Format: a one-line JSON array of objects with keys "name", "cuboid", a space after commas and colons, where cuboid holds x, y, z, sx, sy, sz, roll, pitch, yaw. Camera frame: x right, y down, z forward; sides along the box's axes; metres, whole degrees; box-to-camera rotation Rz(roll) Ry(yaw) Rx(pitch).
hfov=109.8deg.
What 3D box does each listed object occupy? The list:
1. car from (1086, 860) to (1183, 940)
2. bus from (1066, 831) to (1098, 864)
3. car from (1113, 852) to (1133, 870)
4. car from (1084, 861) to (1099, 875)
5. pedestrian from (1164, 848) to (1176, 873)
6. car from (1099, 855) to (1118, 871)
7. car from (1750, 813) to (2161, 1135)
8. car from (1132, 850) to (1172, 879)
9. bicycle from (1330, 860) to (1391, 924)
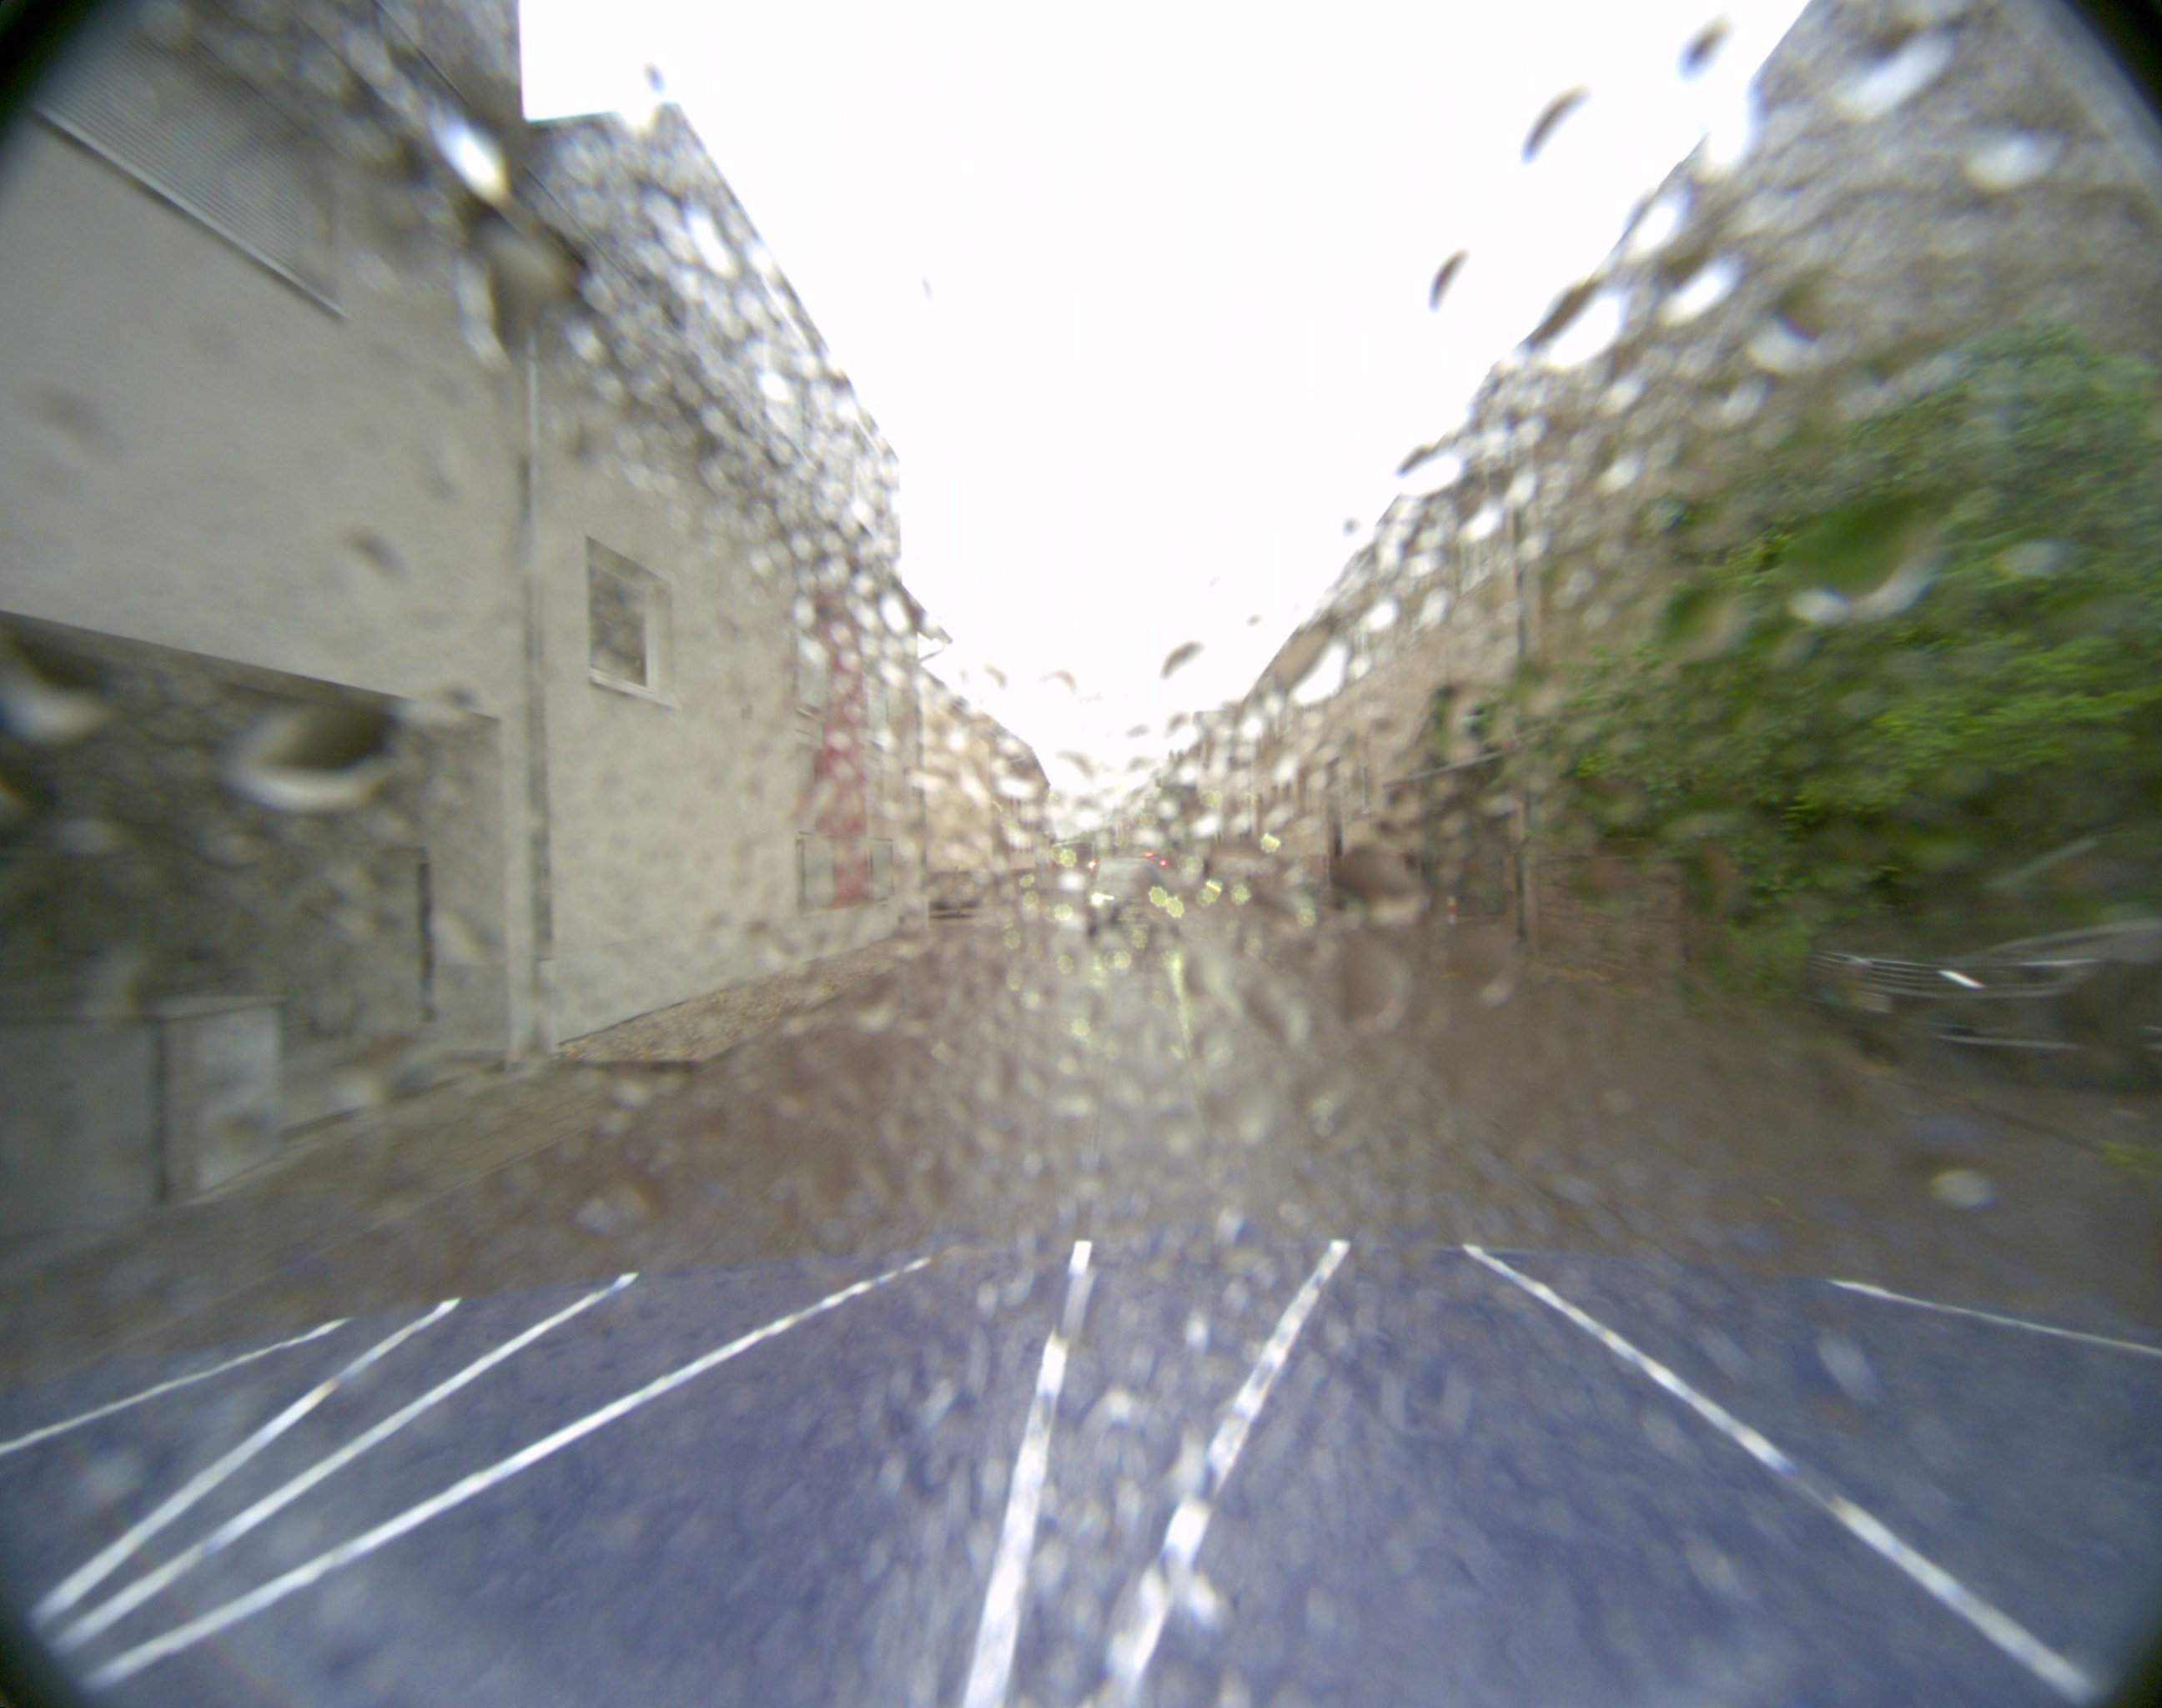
[{"name": "car", "cuboid": [1.041, 0.870, 16.037, 1.739, 1.362, 4.102, -2, 0, 2]}, {"name": "bus", "cuboid": [0.014, -0.672, 79.352, 2.668, 3.213, 12.187, -1, 0, -3]}, {"name": "car", "cuboid": [3.790, 0.622, 68.597, 1.608, 1.504, 3.688, -2, 0, 1]}, {"name": "car", "cuboid": [1.291, 1.654, 93.402, 1.626, 1.502, 3.793, -5, 0, 1]}, {"name": "pedestrian", "cuboid": [5.767, 0.418, 49.349, 0.573, 1.529, 0.833, -4, 1, -3]}, {"name": "car", "cuboid": [2.735, 0.864, 76.715, 1.700, 1.500, 4.341, -1, 1, 0]}, {"name": "car", "cuboid": [6.779, 0.490, 4.371, 3.994, 1.417, 1.737, -6, 0, 10]}, {"name": "car", "cuboid": [4.110, 0.568, 44.569, 1.837, 1.547, 4.238, -3, 1, -1]}, {"name": "bicycle", "cuboid": [5.563, 0.724, 15.226, 0.483, 1.171, 1.874, -4, 0, 1]}]
